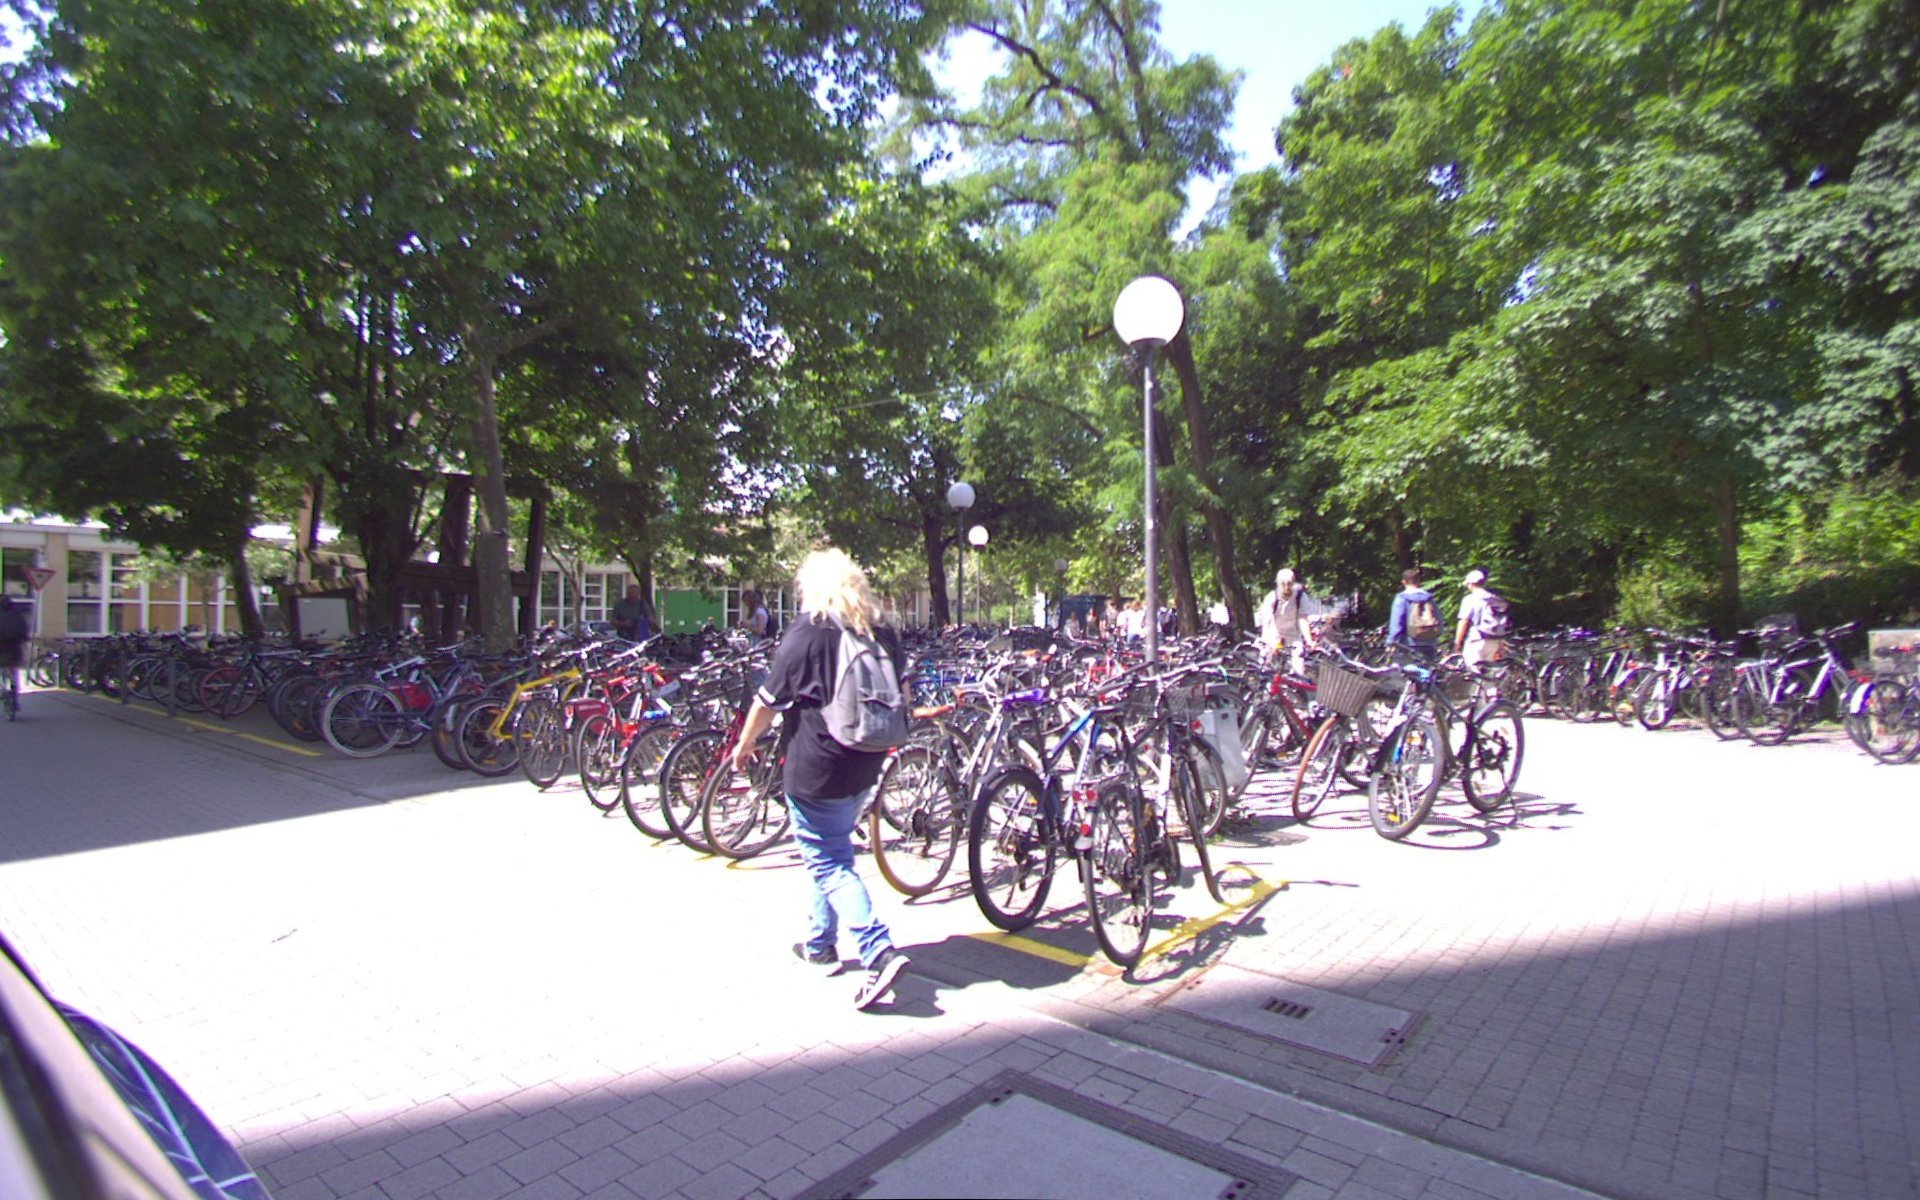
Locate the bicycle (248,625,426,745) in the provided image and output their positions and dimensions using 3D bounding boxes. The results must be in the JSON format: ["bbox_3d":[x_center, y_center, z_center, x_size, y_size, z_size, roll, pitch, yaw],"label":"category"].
[{"bbox_3d":[-7.195,0.940,11.773,0.495,1.245,1.721,-1,0,33],"label":"bicycle"}]

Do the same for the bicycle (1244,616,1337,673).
[{"bbox_3d":[6.753,0.908,20.704,1.750,1.118,0.518,-1,0,-8],"label":"bicycle"}]

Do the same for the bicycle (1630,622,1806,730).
[{"bbox_3d":[8.290,0.810,11.079,1.749,1.118,0.475,-1,0,-11],"label":"bicycle"}]

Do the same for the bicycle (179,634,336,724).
[{"bbox_3d":[-9.702,1.062,14.032,0.497,1.116,1.717,-1,0,40],"label":"bicycle"}]

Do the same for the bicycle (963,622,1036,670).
[{"bbox_3d":[0.909,1.065,23.539,1.676,1.092,0.474,-1,0,2],"label":"bicycle"}]

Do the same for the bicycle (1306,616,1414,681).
[{"bbox_3d":[7.146,0.852,18.106,1.750,1.118,0.518,-1,0,-8],"label":"bicycle"}]

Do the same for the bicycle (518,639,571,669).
[{"bbox_3d":[-15.995,2.067,38.984,0.605,1.116,1.805,1,-1,42],"label":"bicycle"}]

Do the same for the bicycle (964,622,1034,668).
[{"bbox_3d":[0.940,1.093,24.629,1.676,1.092,0.474,-1,0,2],"label":"bicycle"}]

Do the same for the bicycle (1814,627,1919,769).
[{"bbox_3d":[8.158,0.791,8.447,1.750,1.118,0.475,-1,0,-6],"label":"bicycle"}]

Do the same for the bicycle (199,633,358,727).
[{"bbox_3d":[-9.176,1.040,13.695,0.496,1.135,1.720,-1,0,35],"label":"bicycle"}]

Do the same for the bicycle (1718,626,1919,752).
[{"bbox_3d":[8.178,0.817,9.555,1.750,1.118,0.475,-1,0,-6],"label":"bicycle"}]

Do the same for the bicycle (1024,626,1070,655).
[{"bbox_3d":[3.334,1.544,38.724,1.682,1.092,0.472,-1,0,12],"label":"bicycle"}]

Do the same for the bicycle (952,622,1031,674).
[{"bbox_3d":[0.670,1.031,21.893,1.676,1.092,0.474,-1,0,2],"label":"bicycle"}]

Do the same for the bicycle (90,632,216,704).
[{"bbox_3d":[-13.711,1.124,17.241,0.496,1.116,1.610,-1,0,35],"label":"bicycle"}]

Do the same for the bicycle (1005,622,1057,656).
[{"bbox_3d":[2.346,1.294,33.510,1.682,1.092,0.472,-1,0,12],"label":"bicycle"}]

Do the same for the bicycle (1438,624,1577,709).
[{"bbox_3d":[7.625,0.911,14.100,1.749,1.118,0.518,-1,0,-11],"label":"bicycle"}]

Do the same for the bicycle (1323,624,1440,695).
[{"bbox_3d":[7.012,0.976,16.853,1.750,1.118,0.518,-1,0,-8],"label":"bicycle"}]

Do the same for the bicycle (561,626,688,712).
[{"bbox_3d":[-4.905,1.006,14.837,1.676,1.209,0.575,-1,0,1],"label":"bicycle"}]

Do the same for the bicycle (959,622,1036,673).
[{"bbox_3d":[0.825,1.044,22.417,1.676,1.092,0.474,-1,0,2],"label":"bicycle"}]

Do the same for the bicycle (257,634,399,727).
[{"bbox_3d":[-8.427,1.035,13.576,0.492,1.116,1.731,-1,0,16],"label":"bicycle"}]

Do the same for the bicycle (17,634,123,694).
[{"bbox_3d":[-18.183,1.285,20.700,0.497,1.116,1.606,-1,0,45],"label":"bicycle"}]

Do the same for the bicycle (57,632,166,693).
[{"bbox_3d":[-16.653,1.207,19.877,0.506,1.116,1.606,-1,0,45],"label":"bicycle"}]

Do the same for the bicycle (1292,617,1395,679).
[{"bbox_3d":[7.187,0.886,18.967,1.750,1.118,0.518,-1,0,-8],"label":"bicycle"}]

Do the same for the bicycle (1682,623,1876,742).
[{"bbox_3d":[8.175,0.800,10.113,1.749,1.118,0.475,-1,0,-11],"label":"bicycle"}]

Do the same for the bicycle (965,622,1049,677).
[{"bbox_3d":[0.950,1.004,20.636,1.676,1.092,0.474,-1,0,2],"label":"bicycle"}]

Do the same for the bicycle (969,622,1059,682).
[{"bbox_3d":[1.019,0.981,19.246,1.676,1.092,0.474,-1,0,2],"label":"bicycle"}]

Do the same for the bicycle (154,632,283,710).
[{"bbox_3d":[-11.617,1.087,15.906,1.603,1.116,0.564,0,0,-36],"label":"bicycle"}]

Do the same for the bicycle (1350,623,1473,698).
[{"bbox_3d":[7.113,0.938,15.957,1.750,1.118,0.518,-1,0,-8],"label":"bicycle"}]

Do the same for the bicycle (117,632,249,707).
[{"bbox_3d":[-12.853,1.120,16.771,1.699,1.116,0.720,0,0,-39],"label":"bicycle"}]

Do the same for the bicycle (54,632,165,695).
[{"bbox_3d":[-16.312,1.195,19.433,0.497,1.116,1.606,-1,0,45],"label":"bicycle"}]

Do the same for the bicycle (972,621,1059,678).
[{"bbox_3d":[1.083,0.962,19.822,1.676,1.092,0.474,-1,0,2],"label":"bicycle"}]

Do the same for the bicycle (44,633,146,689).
[{"bbox_3d":[-18.237,1.277,21.373,1.603,1.116,0.498,0,-3,-38],"label":"bicycle"}]

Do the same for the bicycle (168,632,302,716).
[{"bbox_3d":[-10.791,1.070,15.107,1.603,1.152,0.498,0,0,-36],"label":"bicycle"}]

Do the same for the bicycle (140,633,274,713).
[{"bbox_3d":[-11.386,1.082,15.348,1.603,1.116,0.498,0,0,-36],"label":"bicycle"}]

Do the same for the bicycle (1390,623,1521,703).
[{"bbox_3d":[7.302,0.911,14.920,1.749,1.118,0.518,-1,0,-11],"label":"bicycle"}]

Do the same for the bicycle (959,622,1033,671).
[{"bbox_3d":[0.816,1.051,23.135,1.676,1.092,0.474,-1,0,2],"label":"bicycle"}]

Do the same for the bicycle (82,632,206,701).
[{"bbox_3d":[-14.518,1.151,18.036,0.643,1.116,1.610,-1,0,35],"label":"bicycle"}]

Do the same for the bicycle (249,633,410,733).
[{"bbox_3d":[-7.941,1.008,12.829,0.494,1.116,1.724,-1,0,28],"label":"bicycle"}]

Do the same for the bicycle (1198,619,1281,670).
[{"bbox_3d":[6.400,1.018,23.198,1.750,1.118,0.518,-1,0,-8],"label":"bicycle"}]

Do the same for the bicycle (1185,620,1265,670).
[{"bbox_3d":[6.278,1.057,23.960,1.750,1.118,0.518,-1,0,-8],"label":"bicycle"}]

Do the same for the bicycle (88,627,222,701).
[{"bbox_3d":[-14.007,1.084,17.660,0.496,1.170,1.764,-1,0,35],"label":"bicycle"}]

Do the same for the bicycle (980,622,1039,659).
[{"bbox_3d":[1.476,1.204,30.030,1.682,1.092,0.472,-1,0,12],"label":"bicycle"}]

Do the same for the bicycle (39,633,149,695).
[{"bbox_3d":[-17.196,1.251,20.115,0.630,1.116,1.606,-1,0,44],"label":"bicycle"}]

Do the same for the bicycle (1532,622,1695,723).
[{"bbox_3d":[7.676,0.837,11.904,1.749,1.118,0.475,-1,0,-11],"label":"bicycle"}]

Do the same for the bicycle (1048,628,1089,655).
[{"bbox_3d":[4.516,1.718,42.077,1.682,1.092,0.472,-1,0,12],"label":"bicycle"}]

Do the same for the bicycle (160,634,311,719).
[{"bbox_3d":[-10.385,1.075,14.575,1.711,1.116,0.576,0,0,-31],"label":"bicycle"}]

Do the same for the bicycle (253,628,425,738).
[{"bbox_3d":[-7.495,0.963,12.286,0.496,1.187,1.717,-1,0,39],"label":"bicycle"}]

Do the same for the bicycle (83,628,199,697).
[{"bbox_3d":[-15.037,1.121,18.614,0.497,1.159,1.608,-1,0,40],"label":"bicycle"}]

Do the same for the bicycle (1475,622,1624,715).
[{"bbox_3d":[7.535,0.861,12.951,1.749,1.118,0.475,-1,0,-11],"label":"bicycle"}]

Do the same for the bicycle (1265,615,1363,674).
[{"bbox_3d":[6.930,0.865,19.846,1.750,1.118,0.518,-1,0,-8],"label":"bicycle"}]

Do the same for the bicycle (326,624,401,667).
[{"bbox_3d":[-16.563,1.234,28.144,0.392,1.116,1.818,-1,0,34],"label":"bicycle"}]

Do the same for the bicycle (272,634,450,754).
[{"bbox_3d":[-6.488,0.973,11.054,0.472,1.154,1.683,-1,0,28],"label":"bicycle"}]

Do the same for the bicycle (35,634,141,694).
[{"bbox_3d":[-17.623,1.274,20.481,0.497,1.116,1.606,-1,0,45],"label":"bicycle"}]

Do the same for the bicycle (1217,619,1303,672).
[{"bbox_3d":[6.602,0.987,22.287,1.750,1.118,0.518,-1,0,-8],"label":"bicycle"}]

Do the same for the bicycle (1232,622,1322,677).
[{"bbox_3d":[6.720,1.044,21.462,1.750,1.118,0.518,-1,0,-8],"label":"bicycle"}]

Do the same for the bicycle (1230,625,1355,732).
[{"bbox_3d":[3.740,0.847,11.529,0.594,1.092,1.703,0,0,-10],"label":"bicycle"}]

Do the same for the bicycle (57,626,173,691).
[{"bbox_3d":[-15.792,1.065,18.934,0.691,1.116,1.606,-1,0,45],"label":"bicycle"}]

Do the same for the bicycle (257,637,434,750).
[{"bbox_3d":[-6.874,1.002,11.409,0.495,1.116,1.682,-1,0,30],"label":"bicycle"}]

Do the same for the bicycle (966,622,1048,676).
[{"bbox_3d":[0.977,1.022,21.234,1.676,1.092,0.474,-1,0,2],"label":"bicycle"}]
